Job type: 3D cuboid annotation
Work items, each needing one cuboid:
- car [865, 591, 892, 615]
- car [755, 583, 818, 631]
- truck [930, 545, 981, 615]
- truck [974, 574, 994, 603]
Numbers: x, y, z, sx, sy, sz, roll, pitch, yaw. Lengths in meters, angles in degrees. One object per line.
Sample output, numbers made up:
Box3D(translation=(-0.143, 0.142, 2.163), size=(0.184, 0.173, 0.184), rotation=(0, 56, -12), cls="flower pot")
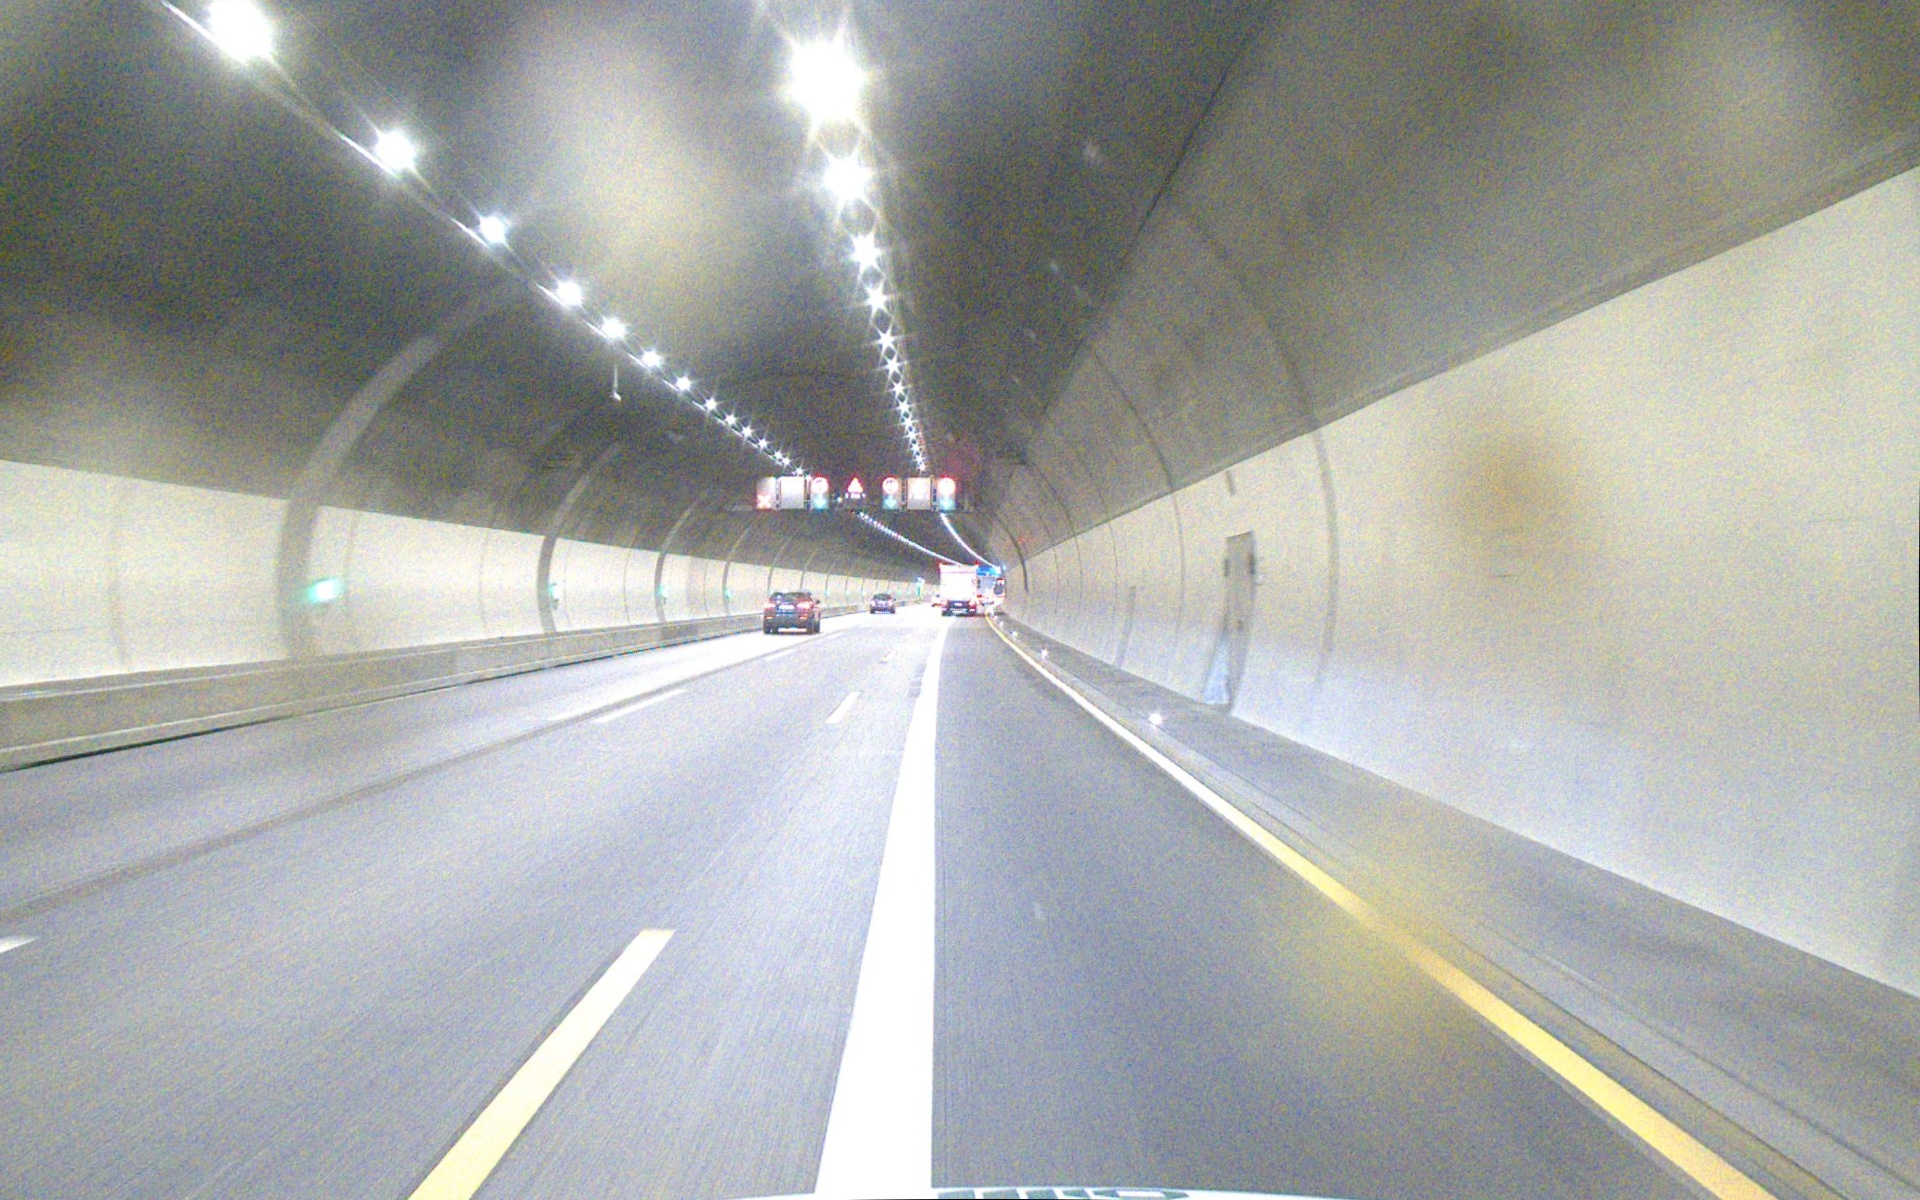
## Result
Box3D(translation=(-5.782, 0.182, 117.987), size=(1.776, 1.546, 4.000), rotation=(1, 2, -1), cls="car")
Box3D(translation=(-6.260, 0.222, 60.035), size=(1.775, 1.646, 4.000), rotation=(2, 0, 0), cls="car")
Box3D(translation=(-0.468, -1.340, 120.534), size=(3.212, 4.731, 17.280), rotation=(0, 0, -2), cls="truck")
Box3D(translation=(3.615, -1.695, 247.583), size=(2.862, 4.118, 14.031), rotation=(0, 0, 1), cls="truck")
